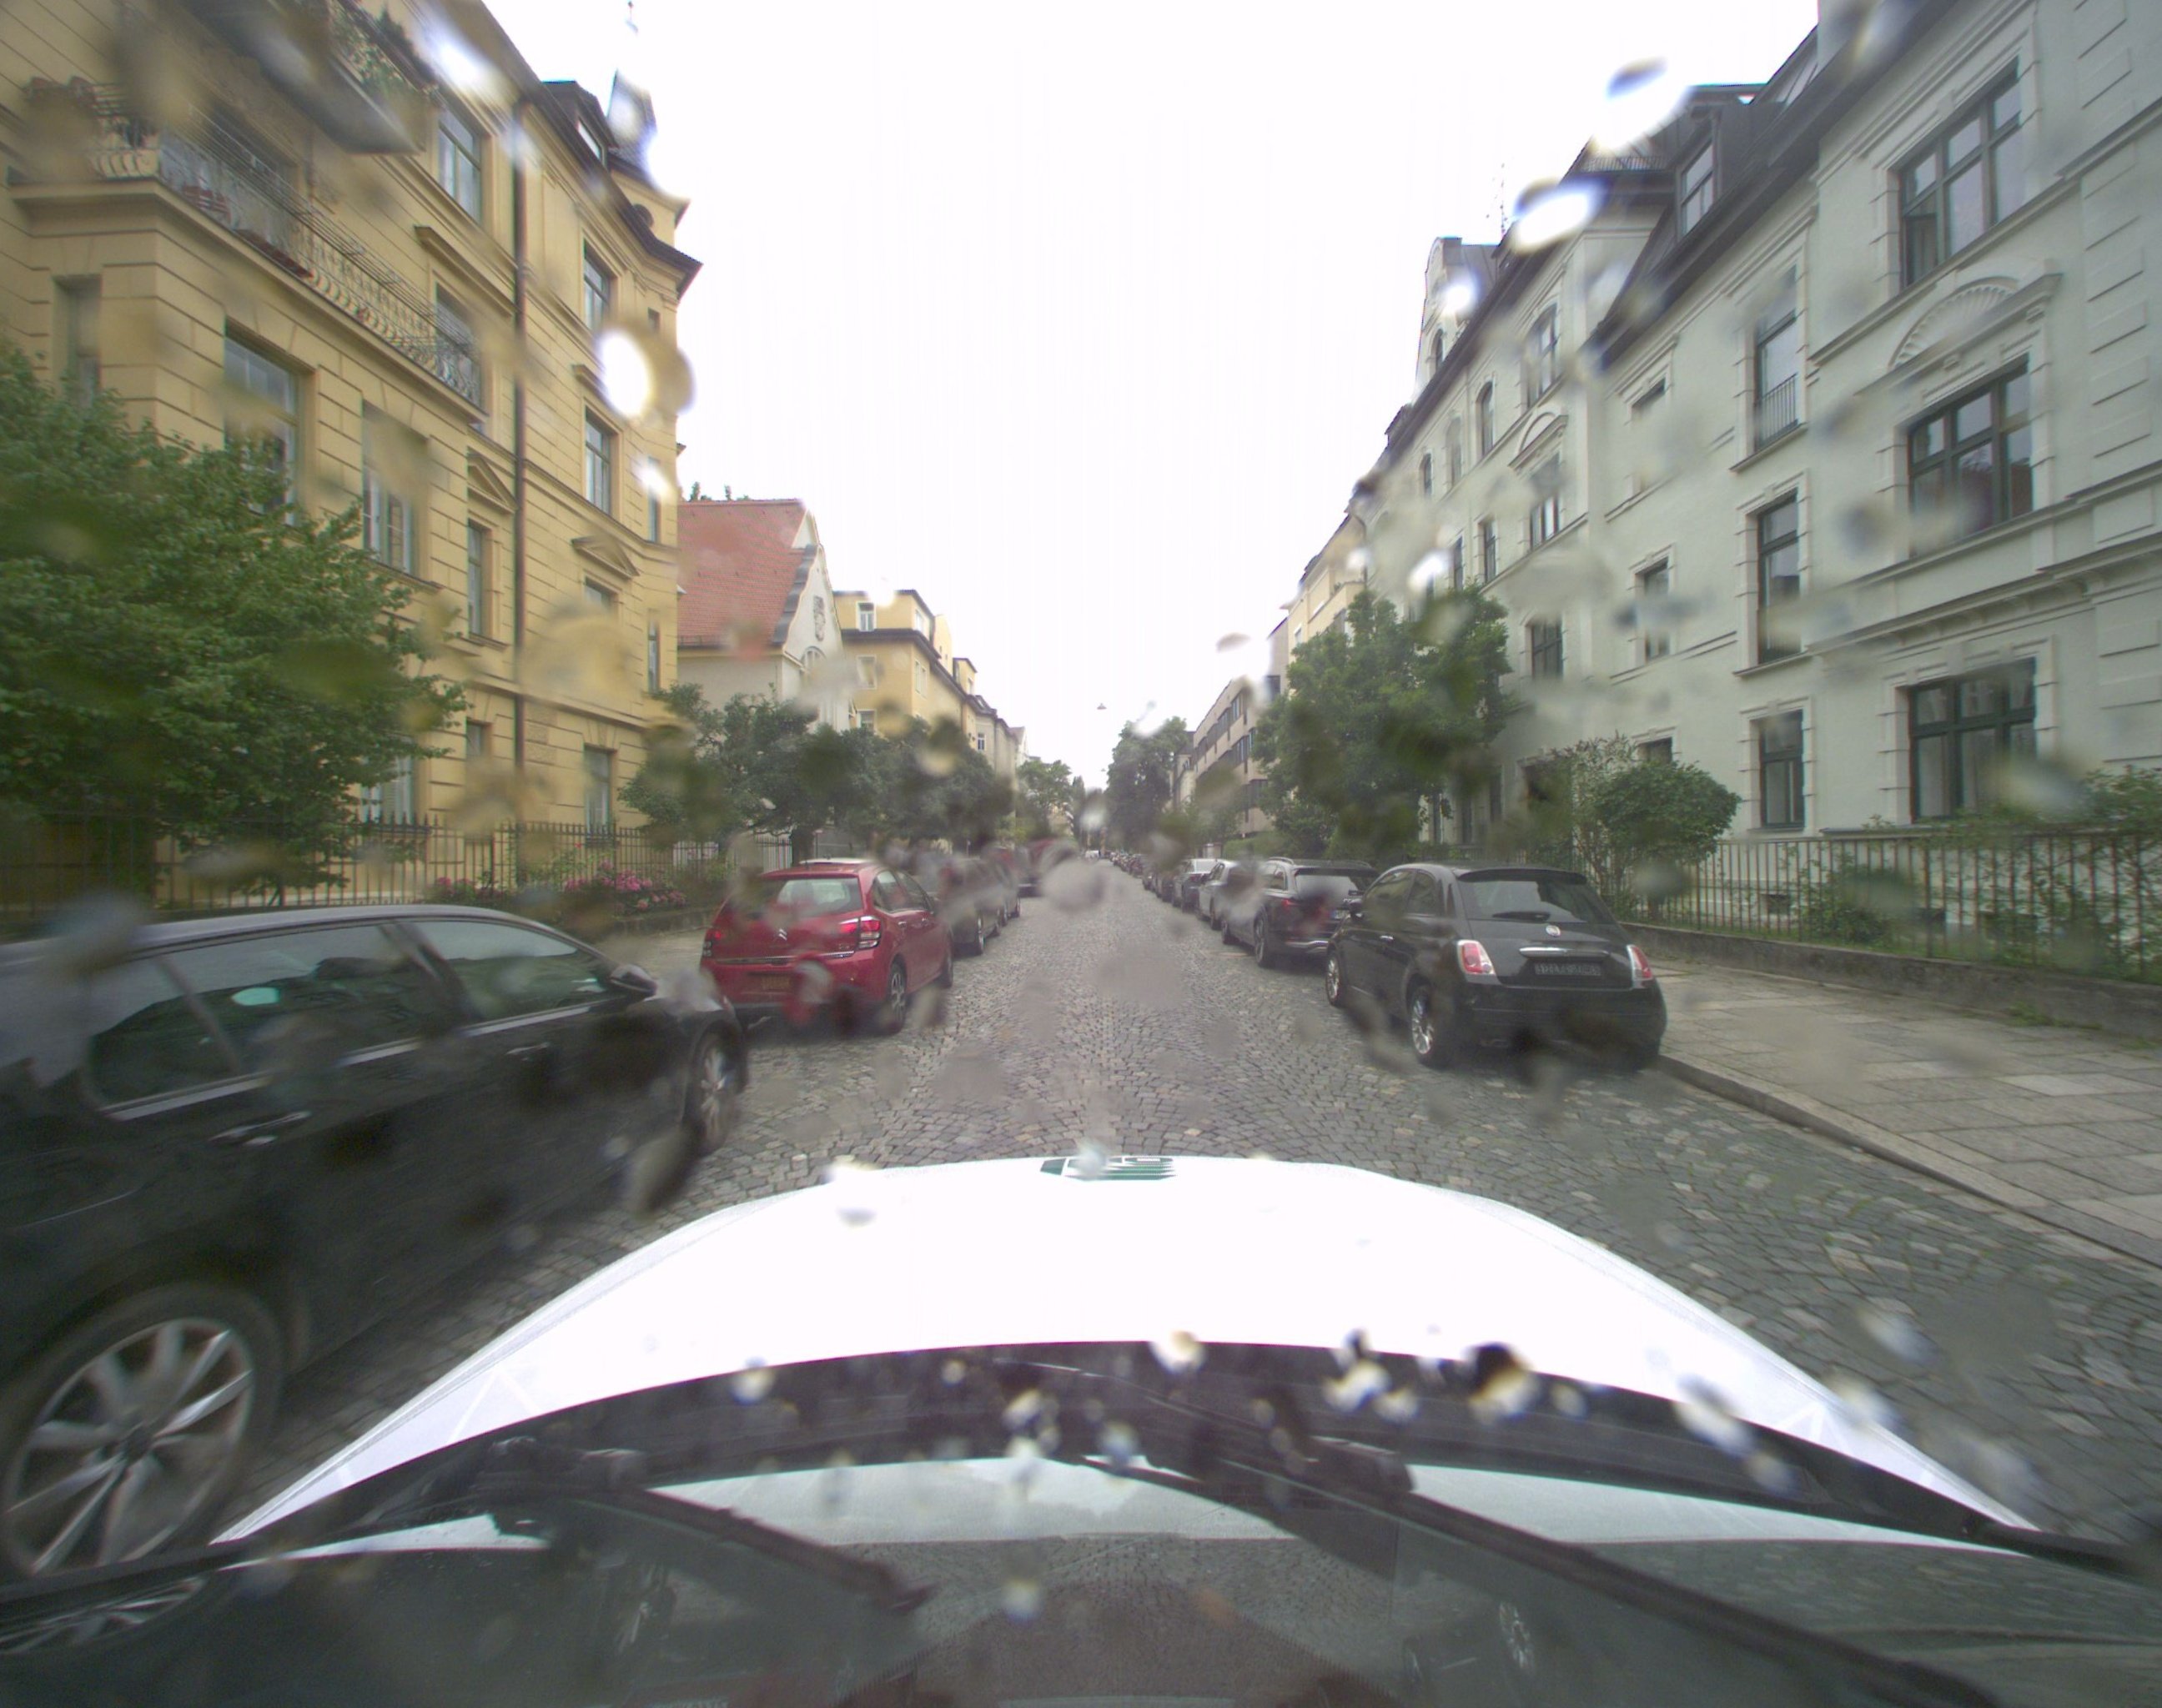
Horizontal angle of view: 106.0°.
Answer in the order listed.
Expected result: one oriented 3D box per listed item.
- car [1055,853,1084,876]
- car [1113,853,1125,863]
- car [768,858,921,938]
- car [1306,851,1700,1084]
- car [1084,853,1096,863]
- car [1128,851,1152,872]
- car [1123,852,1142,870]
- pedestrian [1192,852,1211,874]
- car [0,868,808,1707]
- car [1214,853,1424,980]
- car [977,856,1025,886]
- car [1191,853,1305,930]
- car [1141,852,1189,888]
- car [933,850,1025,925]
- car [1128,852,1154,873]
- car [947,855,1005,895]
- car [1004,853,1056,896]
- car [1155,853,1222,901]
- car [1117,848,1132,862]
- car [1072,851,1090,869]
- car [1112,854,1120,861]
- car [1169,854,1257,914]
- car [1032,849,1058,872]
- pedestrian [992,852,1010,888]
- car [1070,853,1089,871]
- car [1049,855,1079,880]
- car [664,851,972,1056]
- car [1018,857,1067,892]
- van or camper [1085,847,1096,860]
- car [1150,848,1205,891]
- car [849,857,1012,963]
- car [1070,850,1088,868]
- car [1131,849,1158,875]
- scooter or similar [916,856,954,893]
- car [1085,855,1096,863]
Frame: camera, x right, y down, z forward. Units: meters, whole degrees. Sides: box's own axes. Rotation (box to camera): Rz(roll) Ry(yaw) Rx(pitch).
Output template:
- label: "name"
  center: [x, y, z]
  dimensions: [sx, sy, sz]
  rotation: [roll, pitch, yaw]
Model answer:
- label: "car"
  center: [-0.915, 0.849, 67.900]
  dimensions: [1.998, 1.809, 5.177]
  rotation: [-3, 0, 2]
- label: "car"
  center: [6.304, 0.623, 135.635]
  dimensions: [1.867, 1.503, 4.510]
  rotation: [2, 0, 0]
- label: "car"
  center: [-4.823, 0.825, 17.319]
  dimensions: [1.835, 1.466, 4.391]
  rotation: [0, 0, 2]
- label: "car"
  center: [3.331, 0.762, 7.292]
  dimensions: [1.661, 1.508, 3.686]
  rotation: [1, 0, 1]
- label: "car"
  center: [1.535, 0.645, 143.660]
  dimensions: [1.867, 1.580, 4.254]
  rotation: [-4, 0, -1]
- label: "car"
  center: [5.322, 0.669, 74.073]
  dimensions: [1.782, 1.796, 4.509]
  rotation: [3, 0, 0]
- label: "car"
  center: [5.368, 0.708, 85.011]
  dimensions: [1.865, 1.735, 4.895]
  rotation: [1, 0, 3]
- label: "pedestrian"
  center: [8.670, 0.651, 58.682]
  dimensions: [1.211, 1.493, 1.130]
  rotation: [-3, 0, 3]
- label: "car"
  center: [-2.821, 0.885, 3.142]
  dimensions: [1.812, 1.509, 4.643]
  rotation: [-4, -1, 1]
- label: "car"
  center: [3.346, 0.773, 12.566]
  dimensions: [1.897, 1.503, 5.108]
  rotation: [2, 0, 2]
- label: "car"
  center: [-3.961, 0.821, 40.889]
  dimensions: [1.769, 1.417, 4.564]
  rotation: [0, 0, 2]
- label: "car"
  center: [3.582, 0.749, 18.231]
  dimensions: [1.749, 1.460, 4.482]
  rotation: [1, 0, 2]
- label: "car"
  center: [3.909, 0.714, 38.710]
  dimensions: [1.986, 1.552, 4.989]
  rotation: [1, 0, 2]
- label: "car"
  center: [-2.374, 0.742, 19.906]
  dimensions: [1.735, 1.586, 4.189]
  rotation: [-2, 0, -1]
- label: "car"
  center: [5.020, 0.703, 68.635]
  dimensions: [1.853, 1.702, 4.815]
  rotation: [2, 0, 2]
- label: "car"
  center: [-4.264, 0.806, 33.733]
  dimensions: [1.733, 1.536, 4.467]
  rotation: [0, 0, 1]
- label: "car"
  center: [-2.023, 0.793, 33.621]
  dimensions: [1.733, 1.603, 4.538]
  rotation: [-2, 0, 1]
- label: "car"
  center: [3.681, 0.754, 28.620]
  dimensions: [1.812, 1.488, 5.052]
  rotation: [2, 0, 2]
- label: "car"
  center: [6.624, 0.131, 123.628]
  dimensions: [1.867, 1.928, 5.162]
  rotation: [2, 0, 0]
- label: "car"
  center: [0.080, 0.720, 98.919]
  dimensions: [1.986, 1.917, 5.178]
  rotation: [-4, 0, 1]
- label: "car"
  center: [8.534, 0.872, 197.319]
  dimensions: [1.783, 1.520, 4.002]
  rotation: [-1, 0, 2]
- label: "car"
  center: [3.678, 0.785, 23.483]
  dimensions: [1.875, 1.488, 4.816]
  rotation: [1, 0, 2]
- label: "car"
  center: [-3.214, 0.574, 73.678]
  dimensions: [1.987, 1.931, 5.330]
  rotation: [0, 0, 0]
- label: "pedestrian"
  center: [-3.761, 0.753, 38.450]
  dimensions: [0.763, 1.650, 0.583]
  rotation: [0, 0, 2]
- label: "car"
  center: [-0.205, 0.813, 87.345]
  dimensions: [1.860, 1.735, 4.401]
  rotation: [-4, 0, -1]
- label: "car"
  center: [-1.095, 0.875, 54.528]
  dimensions: [1.707, 1.562, 4.391]
  rotation: [-3, 0, 1]
- label: "car"
  center: [-2.410, 0.811, 8.682]
  dimensions: [1.835, 1.586, 4.192]
  rotation: [-2, 0, 0]
- label: "car"
  center: [-1.750, 0.943, 38.804]
  dimensions: [1.807, 1.455, 4.916]
  rotation: [-4, 0, 2]
- label: "van or camper"
  center: [2.082, -0.033, 176.482]
  dimensions: [1.986, 2.652, 4.002]
  rotation: [-4, 0, 2]
- label: "car"
  center: [3.933, 0.596, 33.823]
  dimensions: [1.887, 1.654, 4.295]
  rotation: [0, 0, 1]
- label: "car"
  center: [-2.415, 0.826, 14.469]
  dimensions: [1.864, 1.470, 5.133]
  rotation: [-2, 0, 0]
- label: "car"
  center: [-0.190, 0.525, 92.470]
  dimensions: [1.867, 1.917, 4.828]
  rotation: [-3, 0, 1]
- label: "car"
  center: [4.656, 0.569, 60.174]
  dimensions: [1.613, 1.751, 3.887]
  rotation: [2, 0, 0]
- label: "scooter or similar"
  center: [-6.270, 0.869, 35.209]
  dimensions: [1.058, 1.523, 2.636]
  rotation: [-1, 0, 2]
- label: "car"
  center: [1.908, 0.942, 161.597]
  dimensions: [1.864, 1.580, 4.213]
  rotation: [1, 0, 5]
